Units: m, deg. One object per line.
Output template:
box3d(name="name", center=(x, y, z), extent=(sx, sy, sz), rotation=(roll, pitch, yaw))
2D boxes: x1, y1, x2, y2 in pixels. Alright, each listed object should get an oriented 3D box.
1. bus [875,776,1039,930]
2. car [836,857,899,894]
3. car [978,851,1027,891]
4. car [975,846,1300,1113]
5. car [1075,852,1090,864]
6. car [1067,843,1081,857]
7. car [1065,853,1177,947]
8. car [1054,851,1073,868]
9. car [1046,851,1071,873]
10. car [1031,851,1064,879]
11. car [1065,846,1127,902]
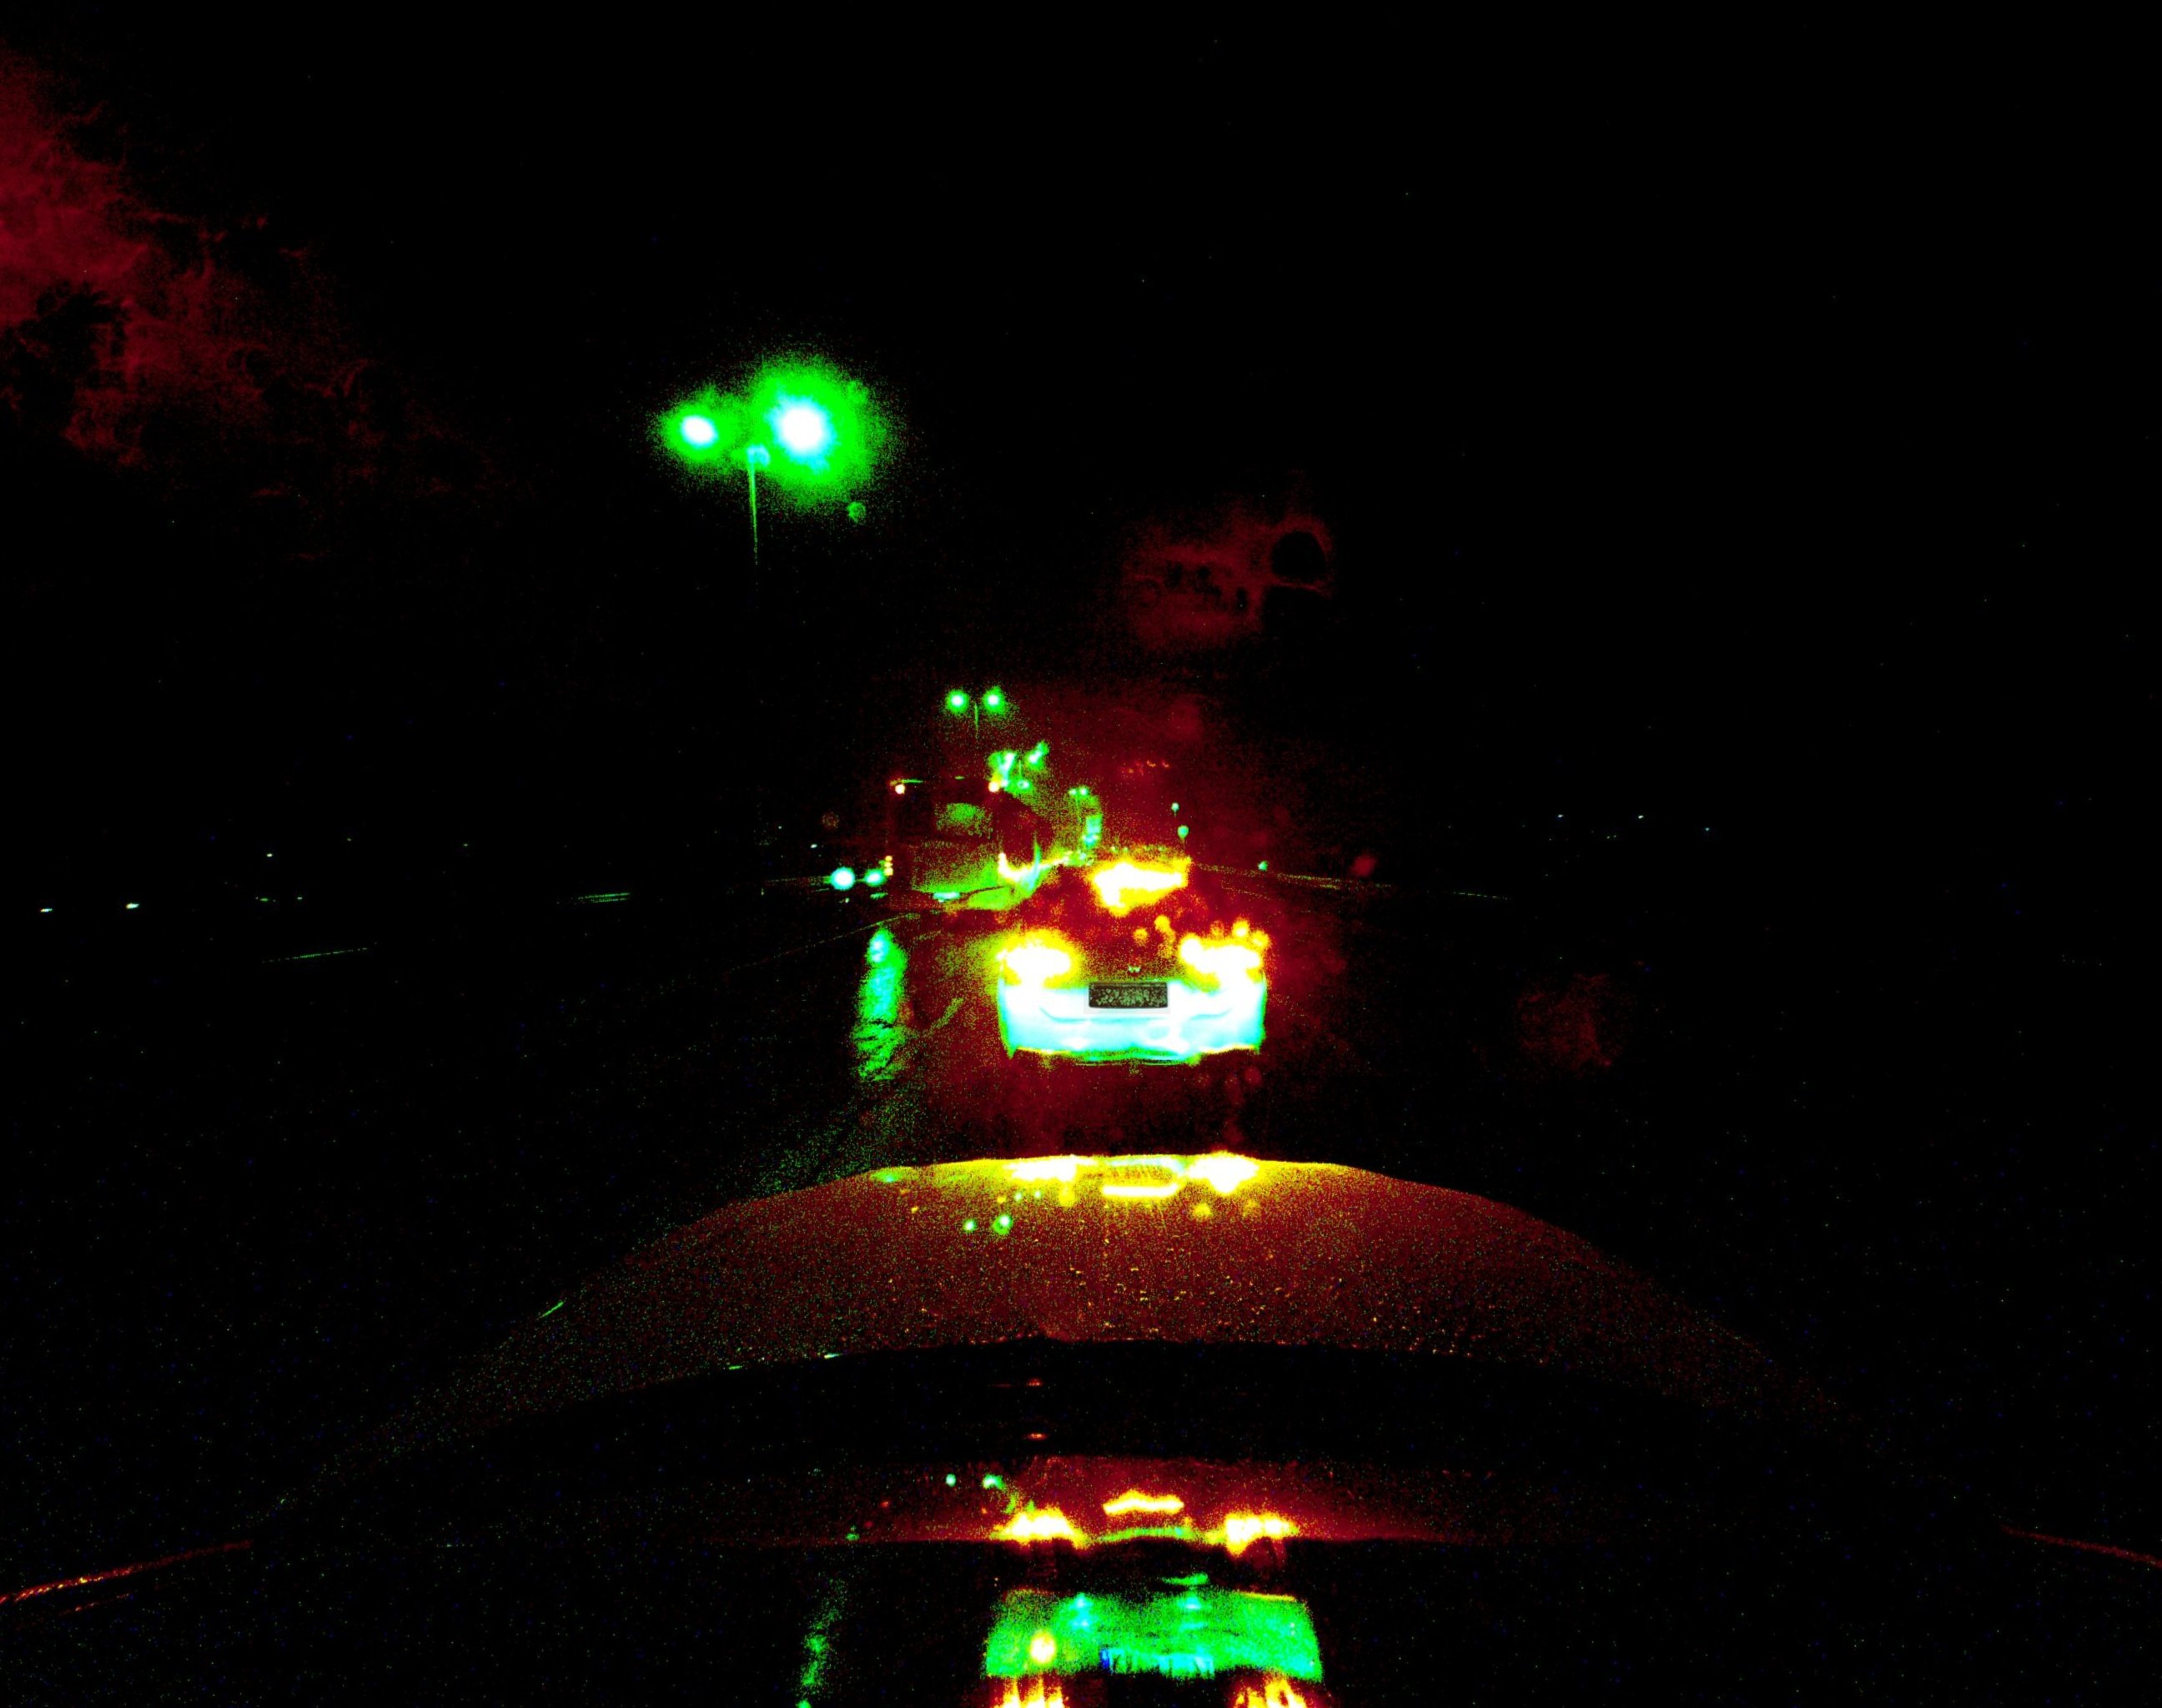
box3d(name="bus", center=(-2.697, -0.041, 20.600), extent=(2.806, 3.024, 8.685), rotation=(-1, 0, 0))
box3d(name="car", center=(-9.758, 0.953, 37.528), extent=(1.745, 1.552, 4.011), rotation=(-2, 0, 1))
box3d(name="car", center=(-3.259, 0.678, 34.480), extent=(1.775, 1.543, 3.872), rotation=(-1, 0, -2))
box3d(name="car", center=(0.391, 0.706, 6.890), extent=(1.815, 1.484, 4.569), rotation=(-1, 0, 2))
box3d(name="car", center=(0.201, 0.477, 103.494), extent=(1.773, 1.543, 3.876), rotation=(-1, 0, 1))
box3d(name="car", center=(-1.001, -0.557, 119.777), extent=(1.986, 2.013, 4.002), rotation=(-1, 0, 2))
box3d(name="car", center=(0.629, 0.713, 15.136), extent=(1.726, 1.449, 4.724), rotation=(-1, 0, 0))
box3d(name="car", center=(-1.707, 0.541, 77.779), extent=(1.775, 1.543, 3.872), rotation=(-1, 0, -2))
box3d(name="car", center=(-1.715, 0.592, 62.232), extent=(1.774, 1.543, 3.874), rotation=(-1, 0, 0))
box3d(name="car", center=(-1.948, 0.630, 48.312), extent=(1.774, 1.543, 3.873), rotation=(-1, 0, -1))
box3d(name="car", center=(0.392, 0.551, 25.000), extent=(1.735, 1.565, 3.774), rotation=(-1, 0, -2))
